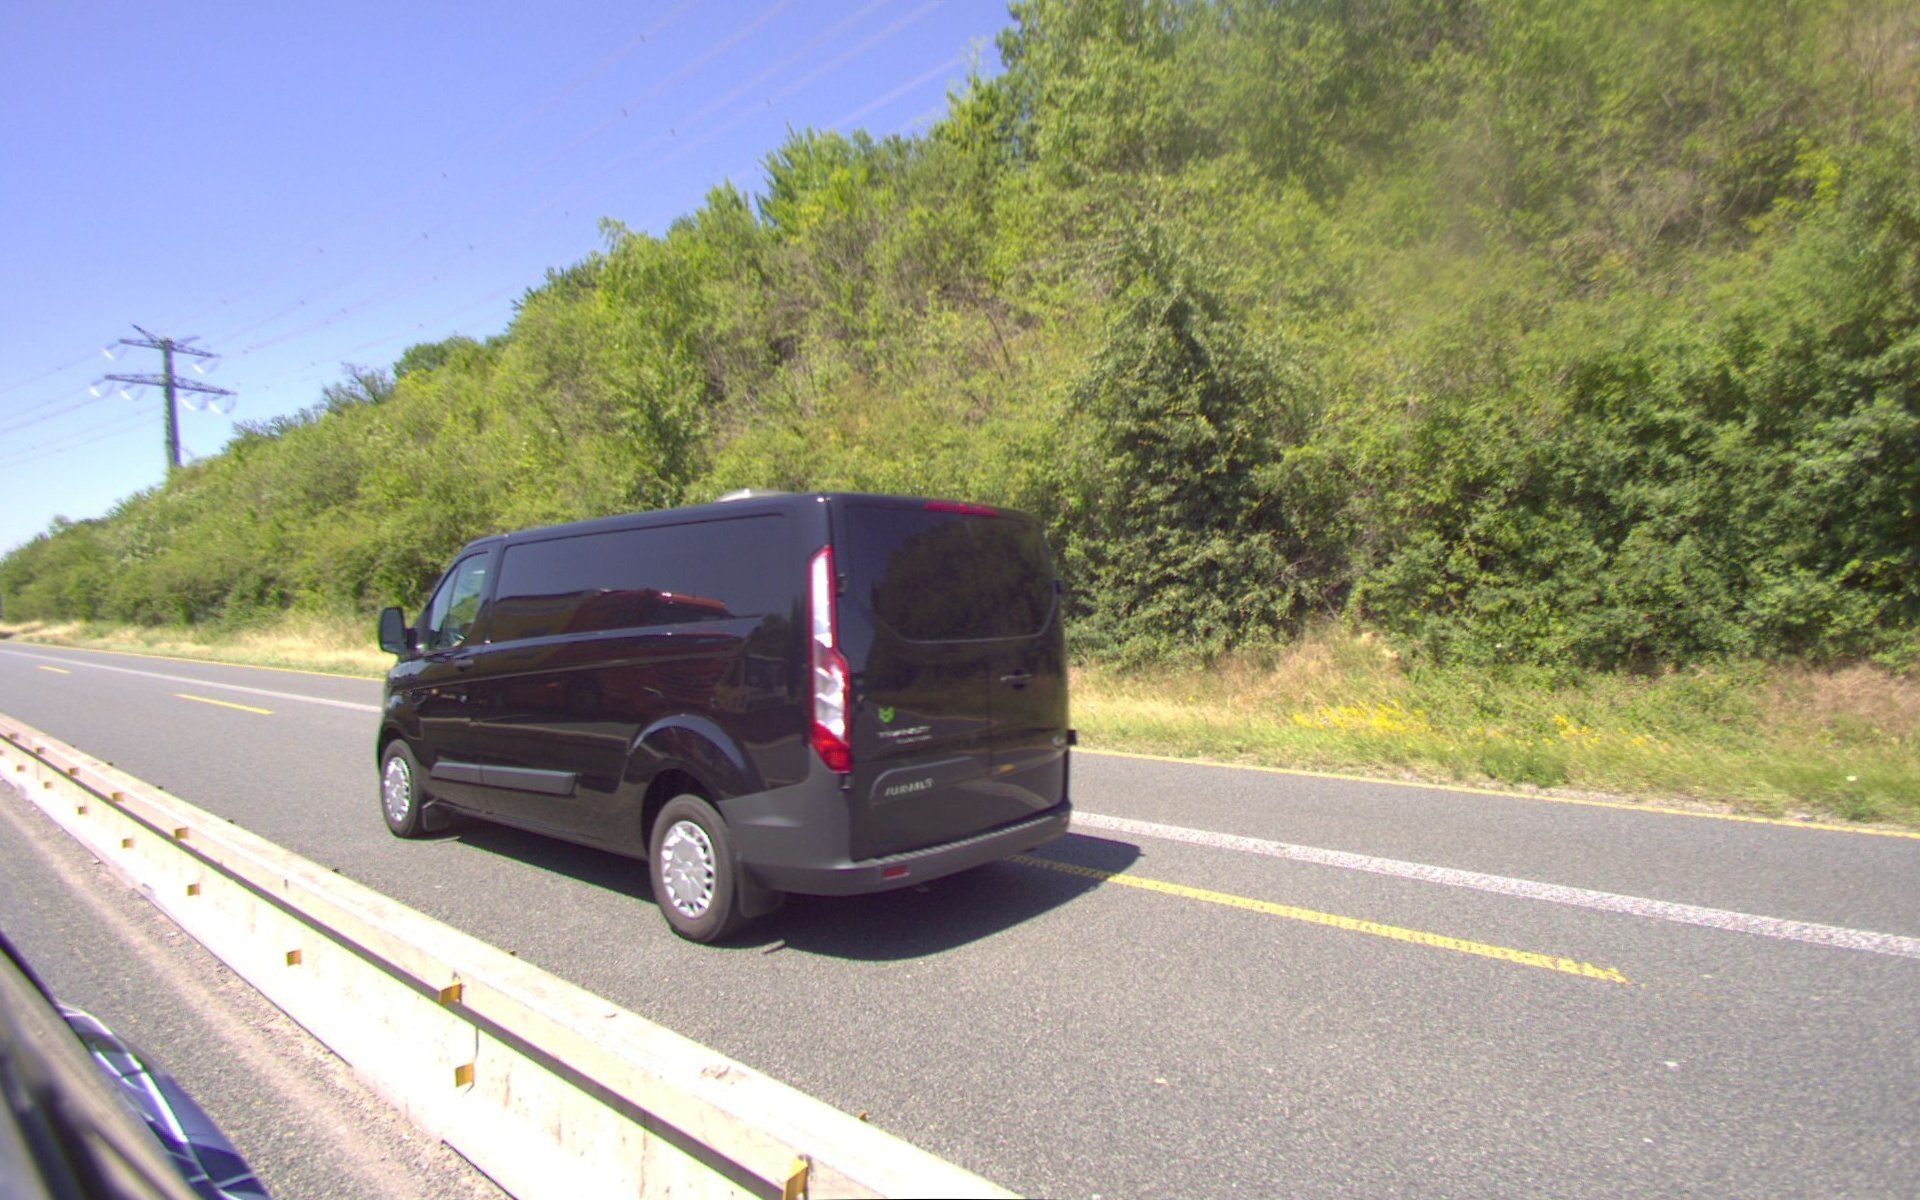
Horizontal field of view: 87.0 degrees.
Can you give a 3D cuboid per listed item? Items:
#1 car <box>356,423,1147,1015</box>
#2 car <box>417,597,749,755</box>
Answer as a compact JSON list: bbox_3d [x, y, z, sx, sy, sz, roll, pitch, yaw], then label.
[{"bbox_3d":[-1.533,0.438,5.771,4.815,2.029,1.871,-1,0,41],"label":"car"},{"bbox_3d":[-4.636,0.784,12.096,4.529,1.536,1.774,-1,0,41],"label":"car"}]
